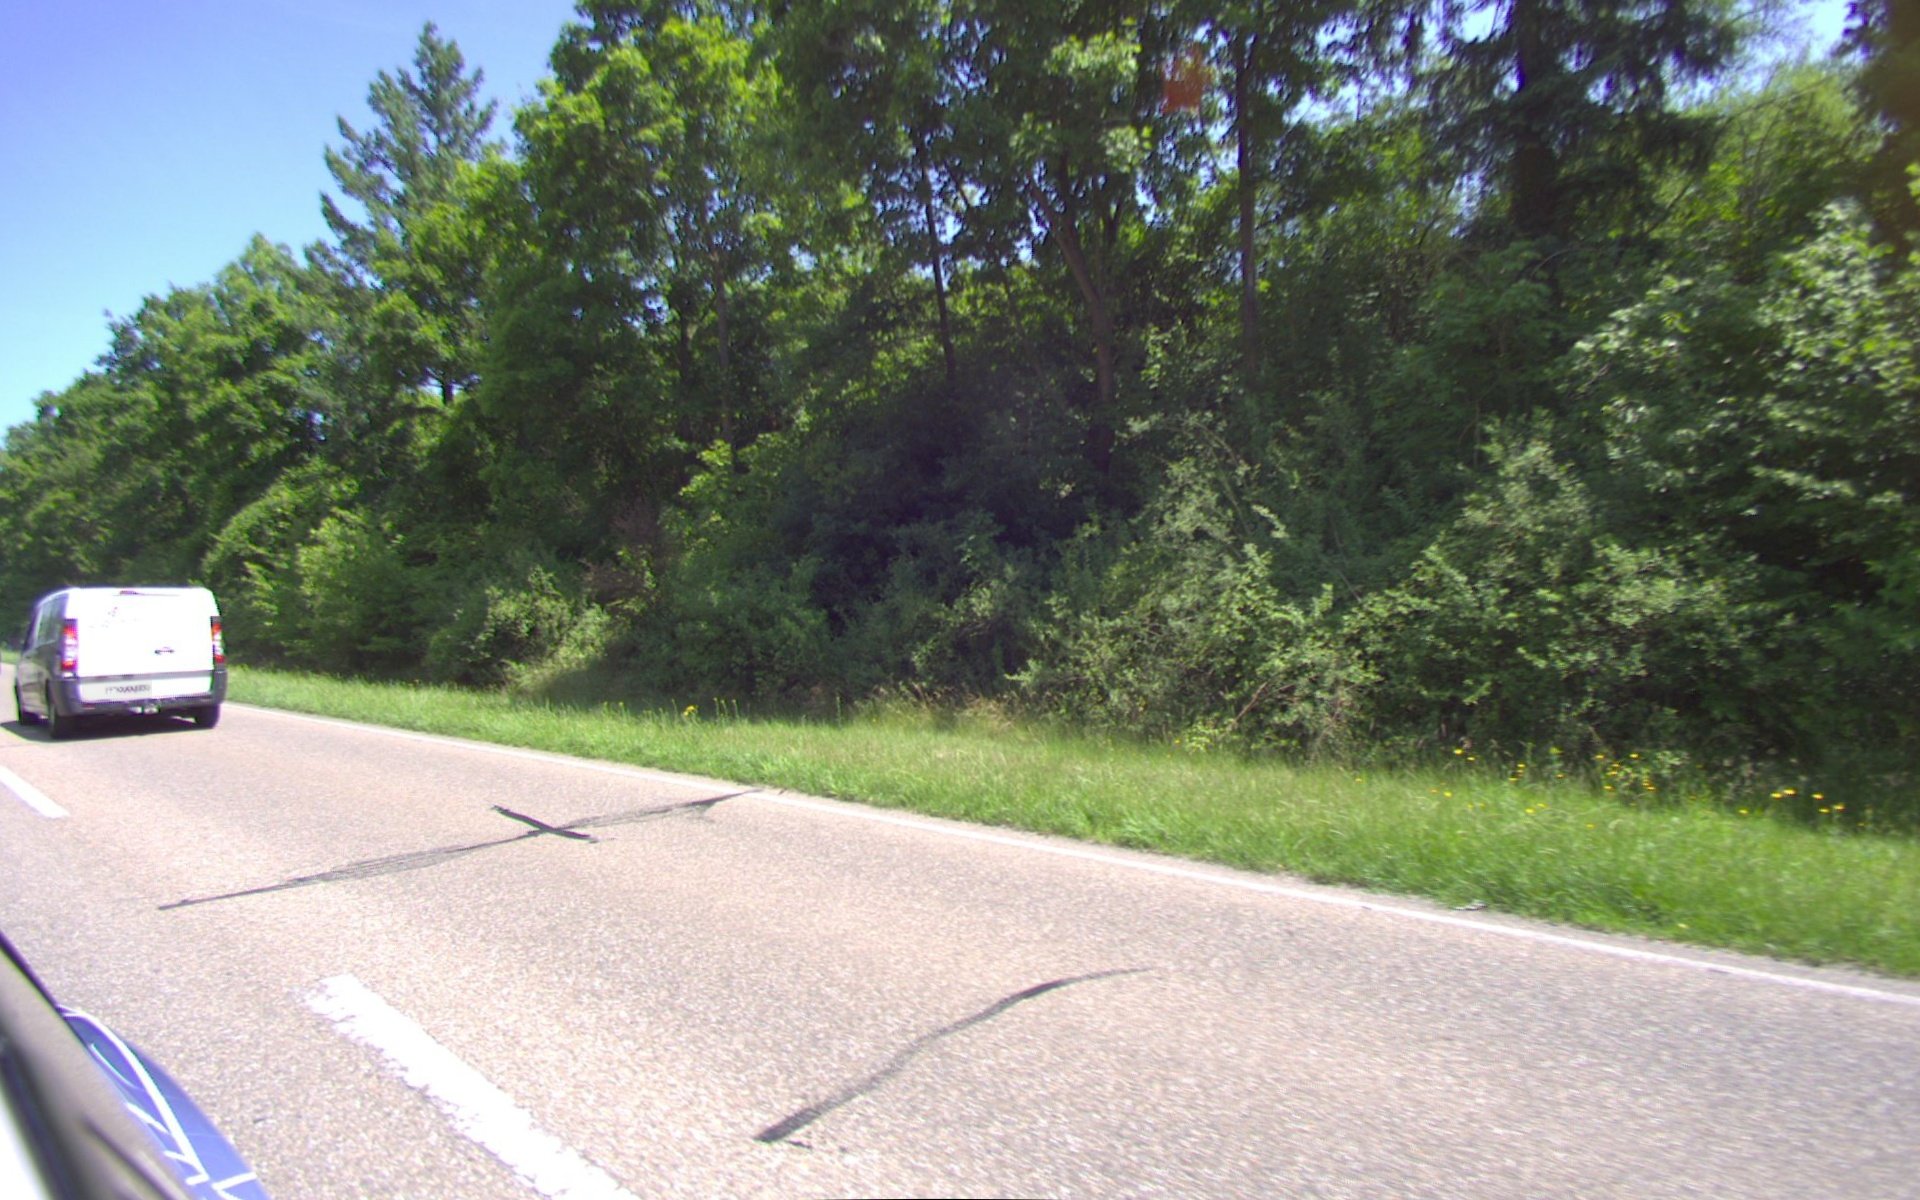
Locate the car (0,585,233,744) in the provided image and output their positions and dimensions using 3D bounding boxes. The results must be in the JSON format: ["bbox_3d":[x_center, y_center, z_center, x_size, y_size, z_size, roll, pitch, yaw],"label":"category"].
[{"bbox_3d":[-12.394,0.833,14.711,4.984,1.943,1.856,-2,-1,41],"label":"car"}]
